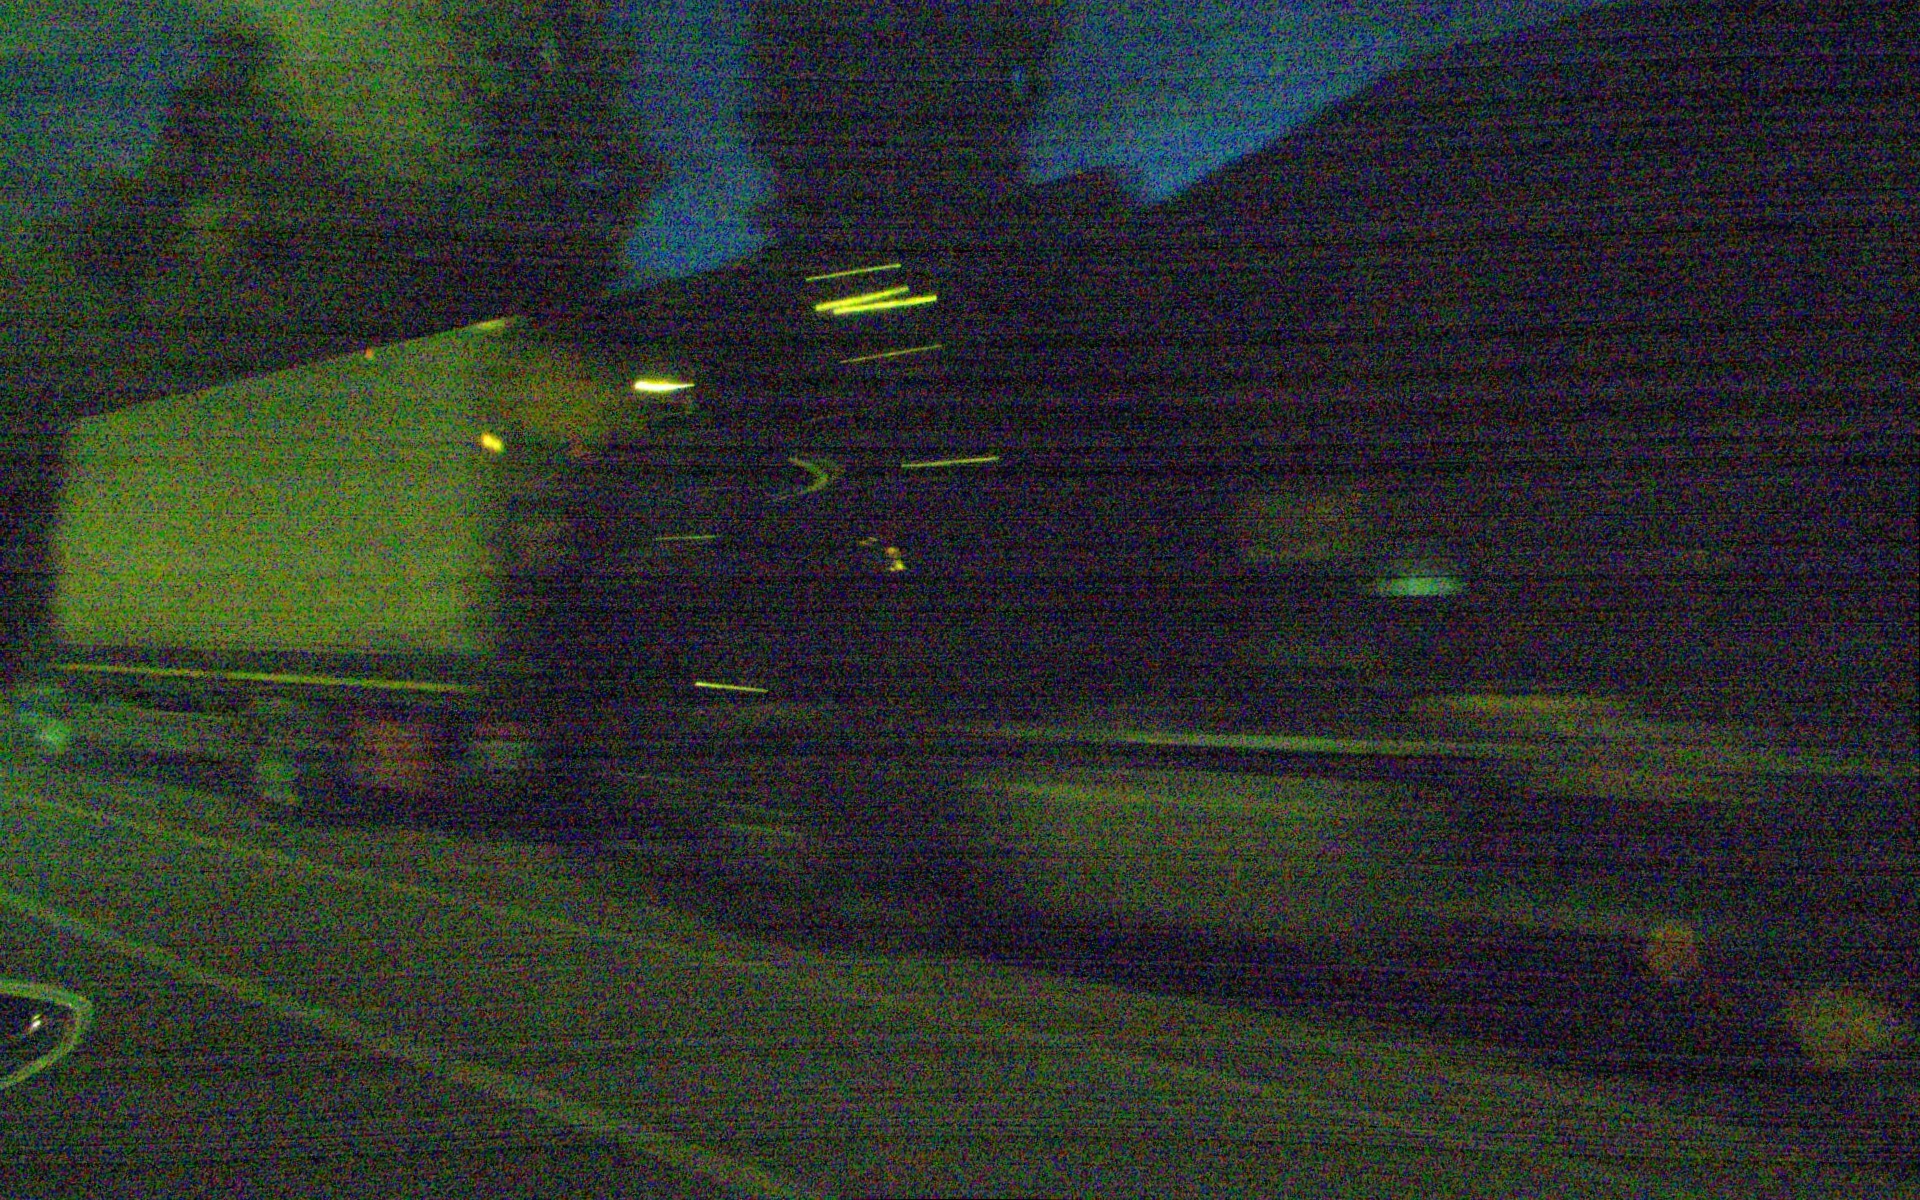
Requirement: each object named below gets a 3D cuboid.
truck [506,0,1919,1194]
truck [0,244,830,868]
[{"bbox_3d":[1.871,-0.277,4.727,9.004,3.831,2.751,-1,-1,32],"label":"truck"},{"bbox_3d":[-6.117,-0.176,9.941,10.075,3.831,2.751,-1,-1,31],"label":"truck"}]
